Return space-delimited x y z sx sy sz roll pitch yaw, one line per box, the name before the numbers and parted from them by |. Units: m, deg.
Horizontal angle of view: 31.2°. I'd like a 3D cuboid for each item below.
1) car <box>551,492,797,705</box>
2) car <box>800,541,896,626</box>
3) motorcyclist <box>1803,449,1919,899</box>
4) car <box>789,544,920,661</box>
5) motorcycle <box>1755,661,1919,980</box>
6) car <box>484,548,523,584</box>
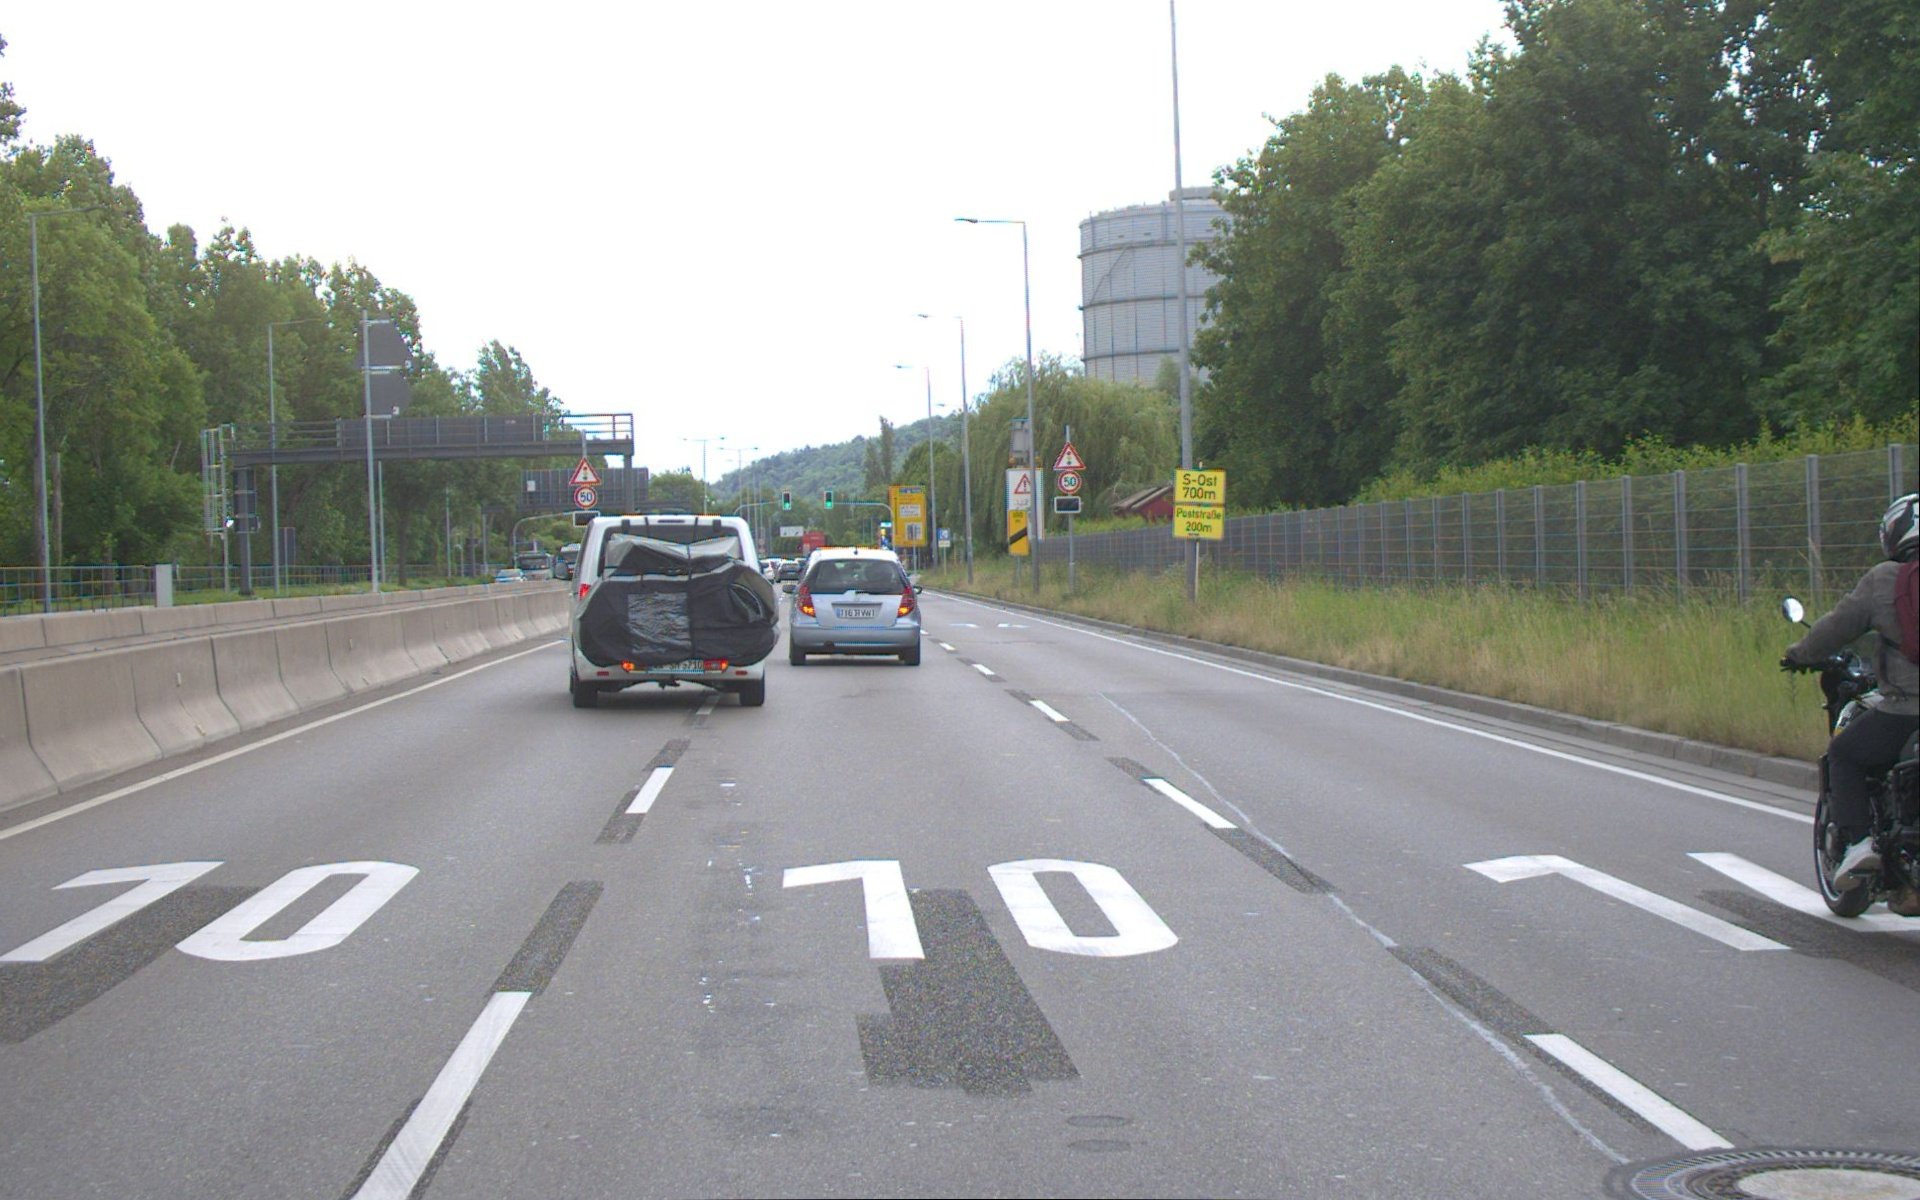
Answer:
car | -2.844 -0.036 33.922 2.214 1.919 5.003 1 1 -5
car | -2.330 -0.349 71.152 1.907 1.678 4.000 1 1 -2
motorcyclist | 3.580 0.263 12.710 0.684 1.604 0.845 1 0 -1
car | -1.487 0.009 47.350 1.710 1.525 4.000 1 1 -3
motorcycle | 3.570 0.778 12.811 0.706 1.036 2.027 1 1 -1
car | -26.704 -1.990 201.045 1.993 2.007 4.001 1 1 -4
